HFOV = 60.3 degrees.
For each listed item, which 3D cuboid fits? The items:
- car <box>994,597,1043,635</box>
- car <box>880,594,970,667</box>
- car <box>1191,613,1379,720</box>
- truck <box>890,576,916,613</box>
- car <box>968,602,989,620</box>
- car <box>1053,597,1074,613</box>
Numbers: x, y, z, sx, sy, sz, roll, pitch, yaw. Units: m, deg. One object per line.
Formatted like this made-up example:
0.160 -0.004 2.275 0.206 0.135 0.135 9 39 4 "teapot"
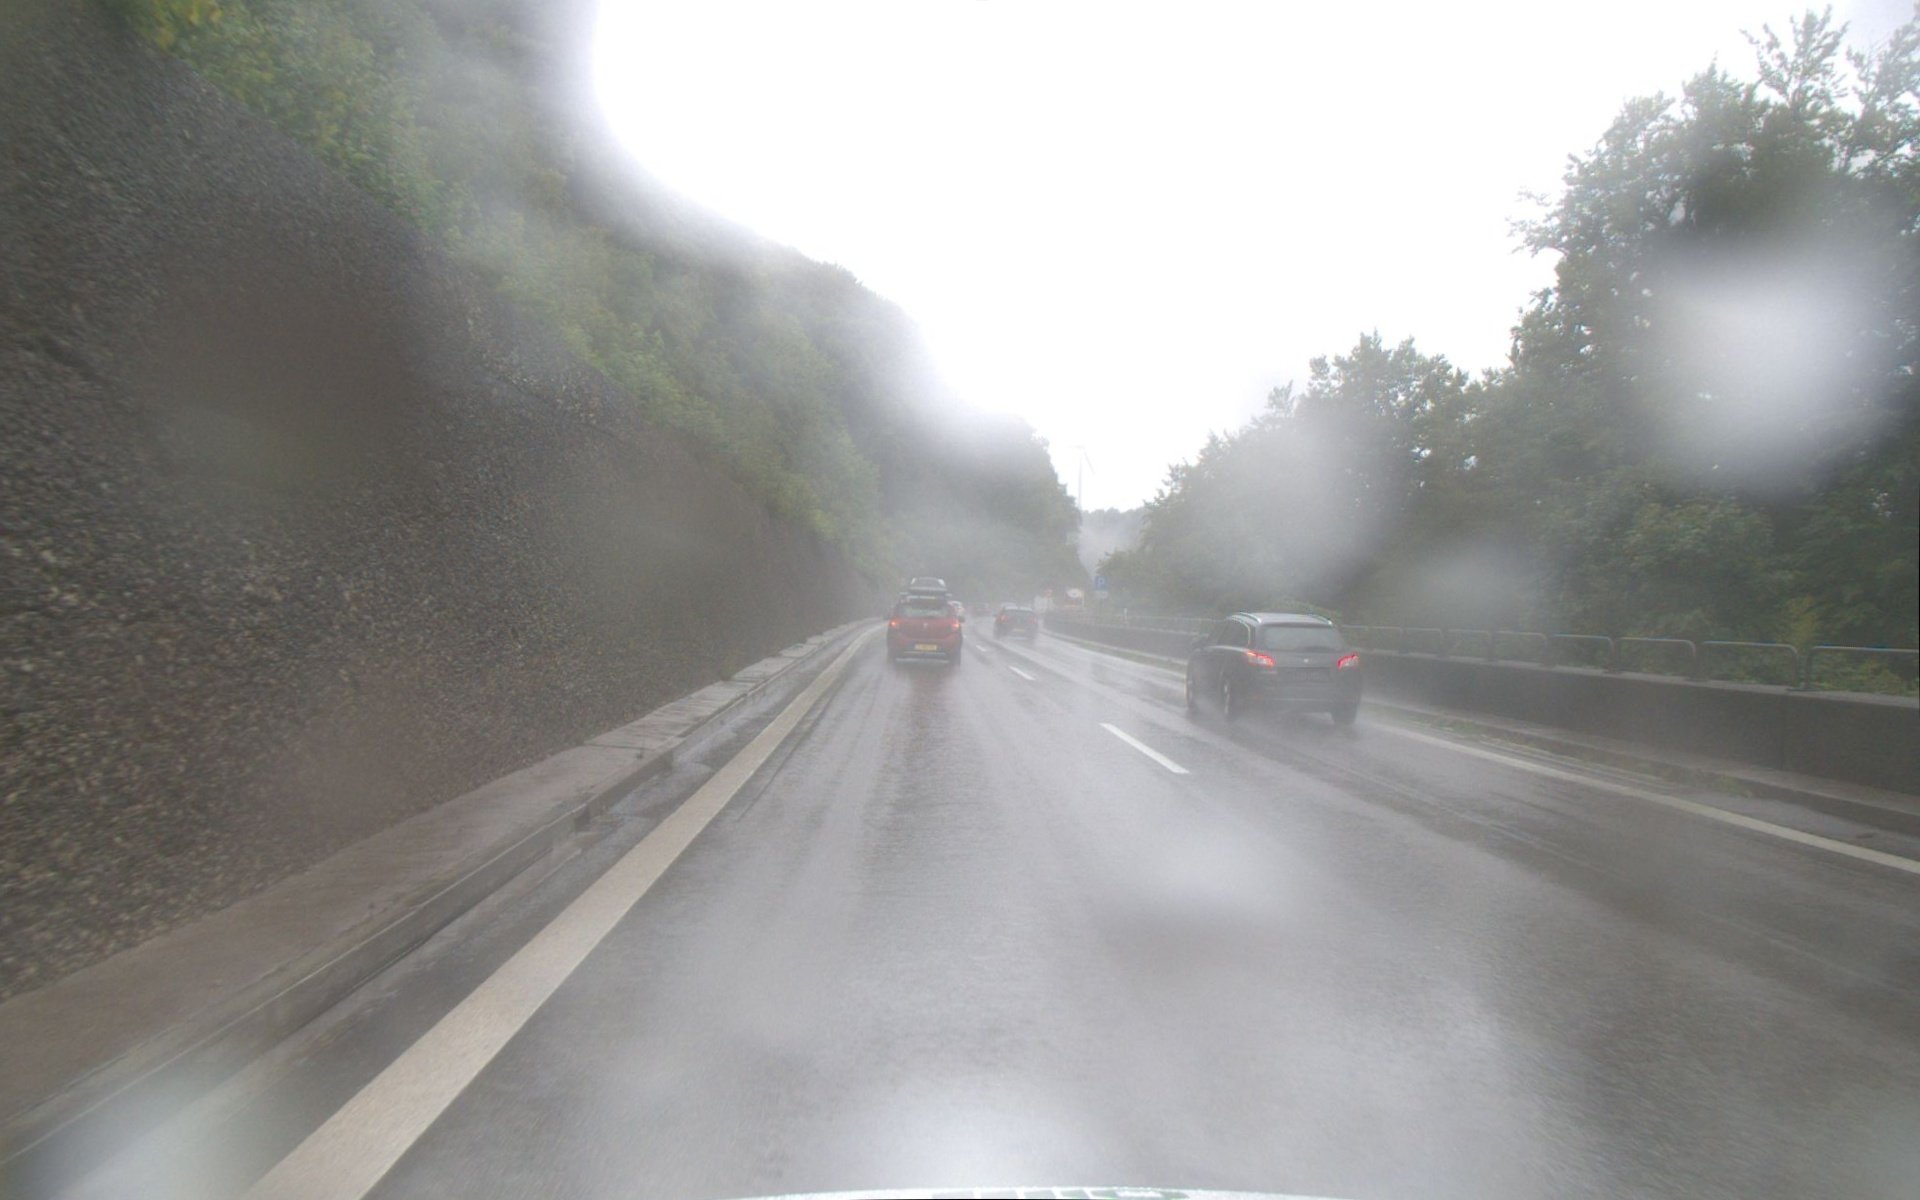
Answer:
2.501 0.682 71.883 1.953 1.579 4.000 0 0 0 "car"
-0.822 0.710 38.313 1.953 1.579 3.998 -1 -1 -2 "car"
4.426 0.867 23.069 1.764 1.330 3.999 0 0 -1 "car"
-4.498 -0.414 130.847 1.953 2.799 5.584 -1 0 -2 "truck"
1.772 1.043 159.600 1.953 1.780 4.000 0 0 0 "car"
13.117 0.640 209.596 2.397 2.049 4.739 0 0 6 "car"
